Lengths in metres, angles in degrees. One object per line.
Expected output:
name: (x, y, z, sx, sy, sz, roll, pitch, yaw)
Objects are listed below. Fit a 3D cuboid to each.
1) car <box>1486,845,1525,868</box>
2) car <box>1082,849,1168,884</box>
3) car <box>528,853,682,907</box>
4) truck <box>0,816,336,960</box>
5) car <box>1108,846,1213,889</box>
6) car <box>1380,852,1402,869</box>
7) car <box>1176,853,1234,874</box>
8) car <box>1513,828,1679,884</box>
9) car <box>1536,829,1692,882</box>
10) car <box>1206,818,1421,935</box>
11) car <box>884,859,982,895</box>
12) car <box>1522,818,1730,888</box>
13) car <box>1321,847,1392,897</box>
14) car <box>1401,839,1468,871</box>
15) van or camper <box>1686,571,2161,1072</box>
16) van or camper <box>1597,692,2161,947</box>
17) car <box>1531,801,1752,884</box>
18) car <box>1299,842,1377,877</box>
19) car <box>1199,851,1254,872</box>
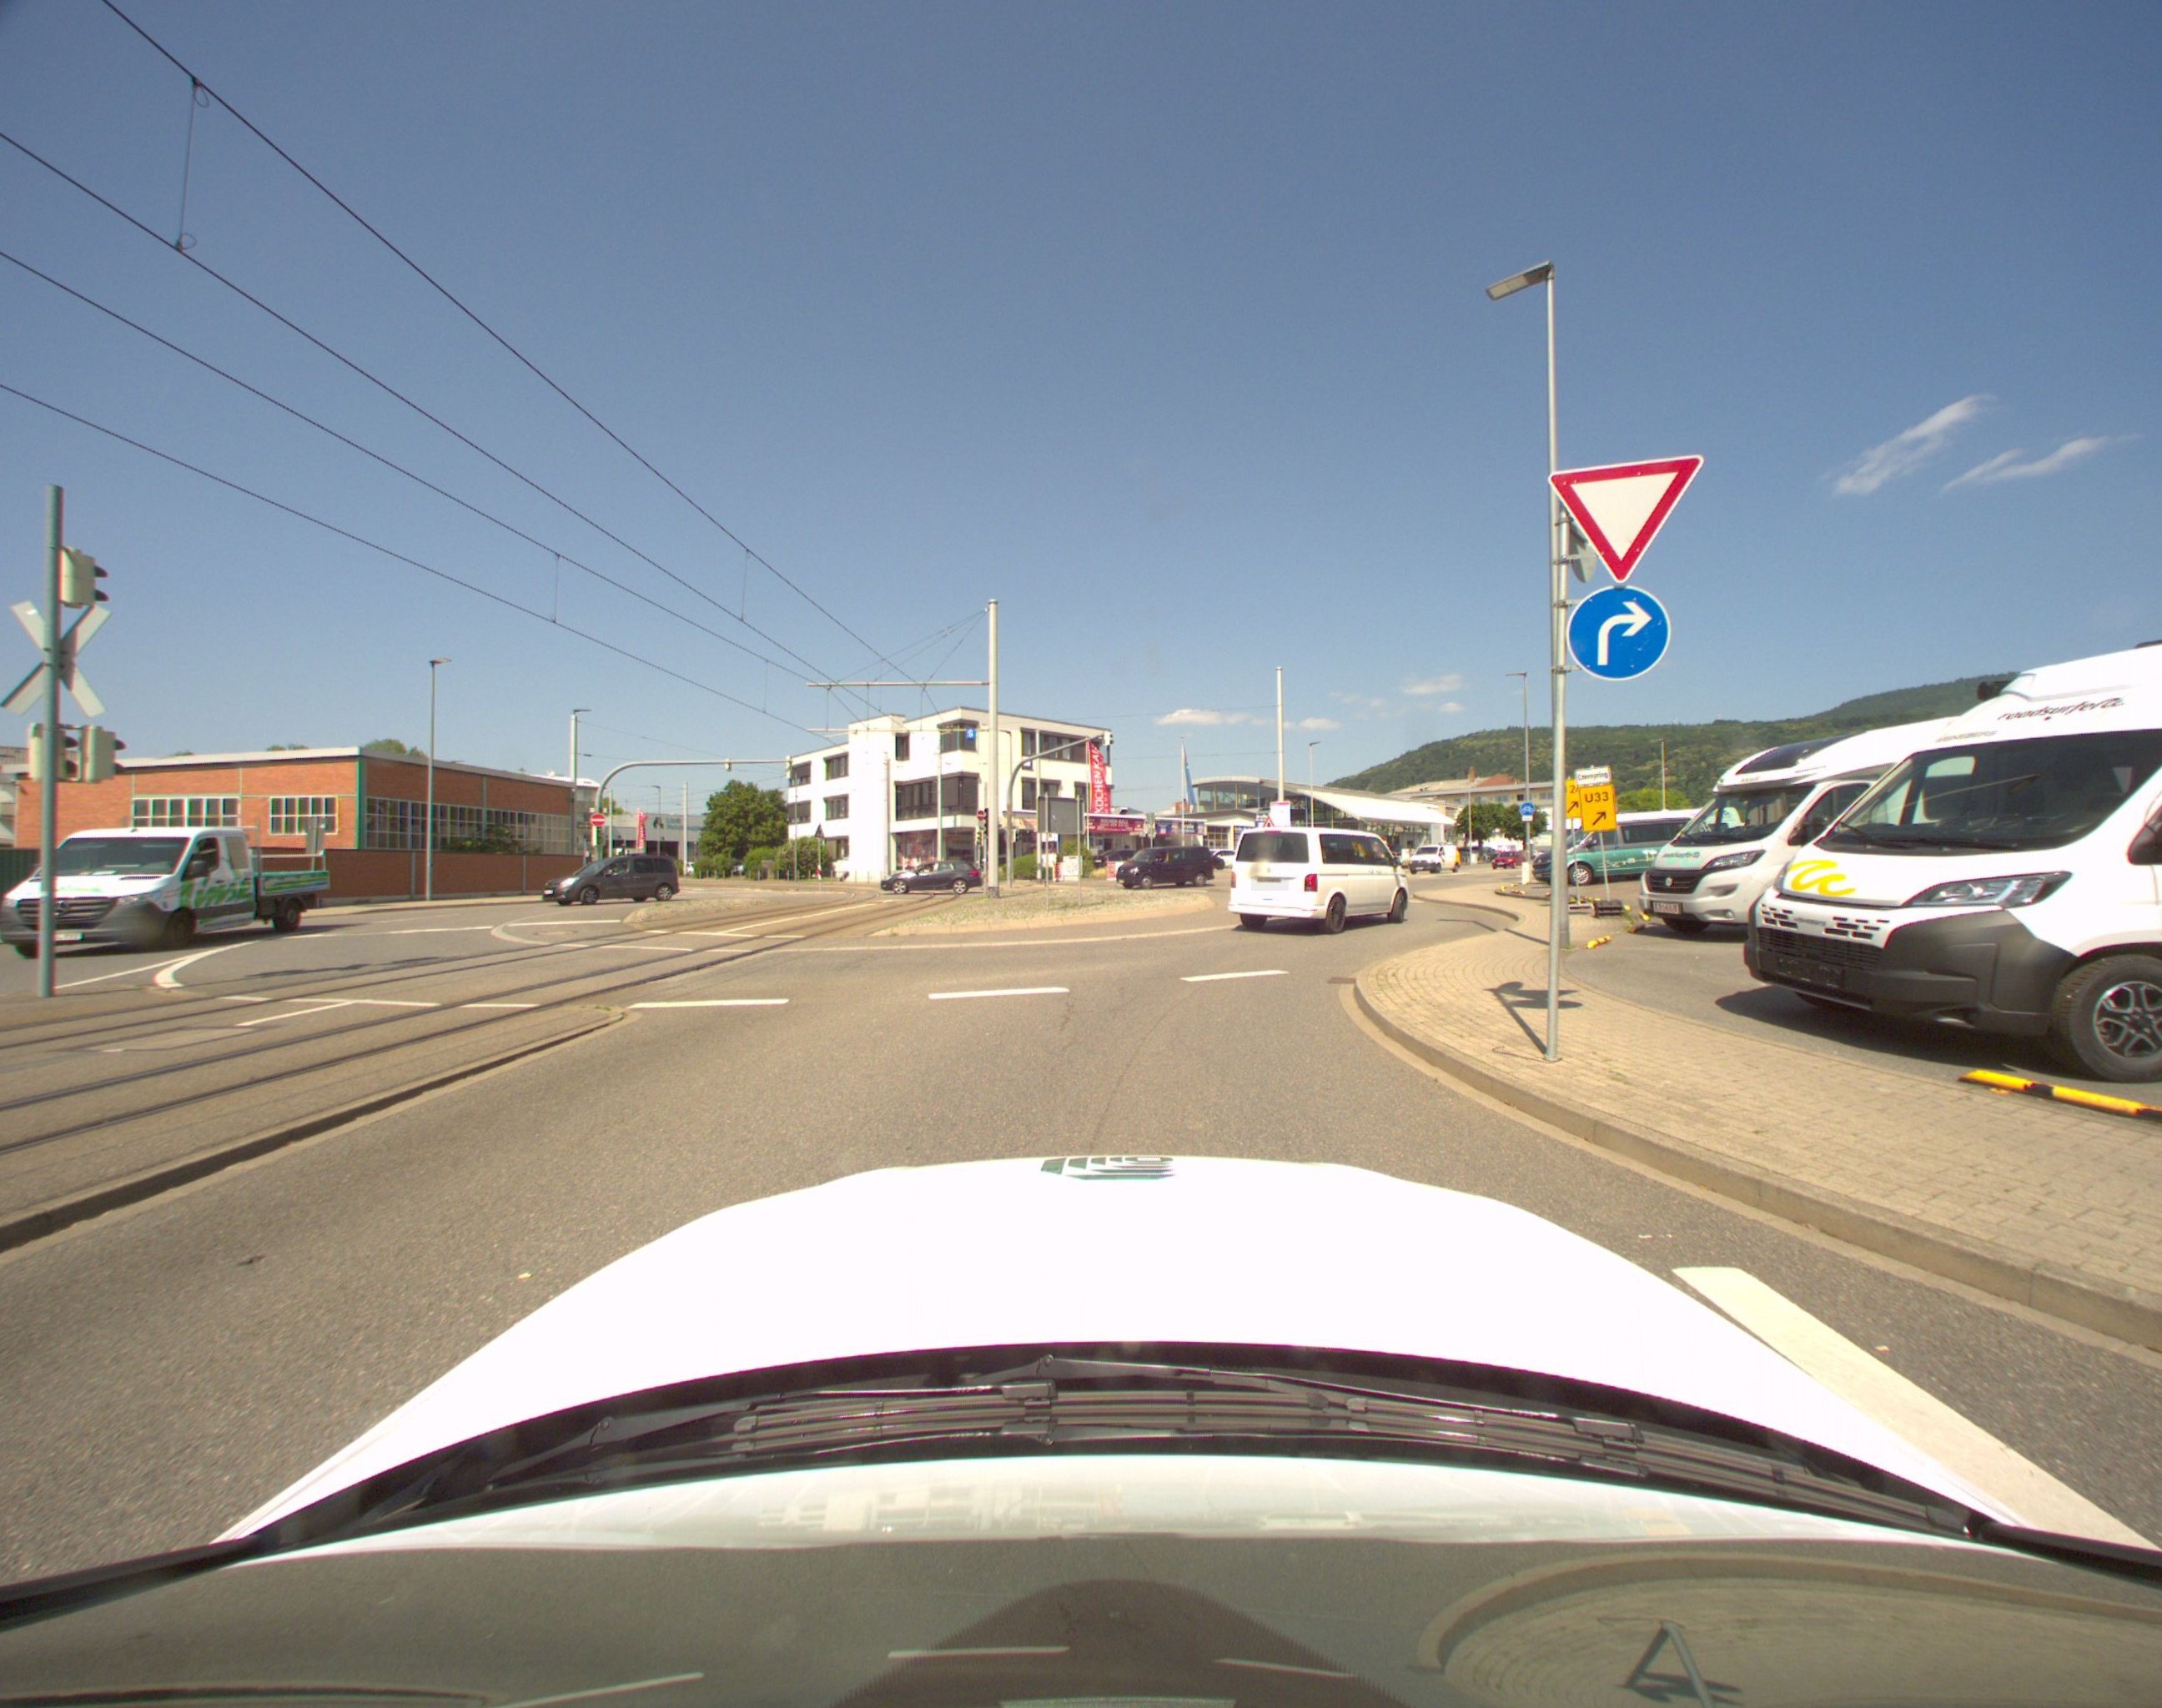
car: (35.429, 0.170, 67.895, 2.002, 1.838, 4.900, -1, 0, 39)
car: (2.707, 0.717, 49.120, 5.309, 1.965, 1.942, 0, -1, -42)
car: (-17.226, 0.894, 29.684, 1.964, 1.818, 4.437, -1, -1, 36)
truck: (-17.982, 0.575, 16.350, 2.210, 2.337, 6.345, 0, 0, -20)
car: (3.832, 0.582, 38.896, 4.653, 1.910, 2.078, -1, 0, -31)
car: (31.295, 0.654, 82.198, 1.729, 1.585, 3.682, -1, -1, 25)
car: (9.084, 0.670, 59.453, 2.007, 1.427, 4.343, -1, -1, 44)
car: (20.112, 0.110, 32.053, 5.109, 2.000, 2.031, -2, -1, 11)
car: (22.356, 0.090, 34.377, 5.095, 2.014, 1.938, -2, -1, 15)
car: (4.899, 0.391, 16.623, 2.142, 2.014, 5.048, -1, -1, 43)
car: (-6.716, 1.021, 37.312, 4.222, 1.556, 1.966, -1, 0, -5)
car: (17.356, -0.014, 26.187, 5.182, 2.113, 2.101, -1, 0, 7)
car: (10.426, 0.640, 30.607, 1.975, 1.733, 4.590, -1, 0, 25)
car: (24.250, 0.046, 55.816, 4.956, 2.114, 2.006, -1, 0, -36)
van or camper: (7.809, -0.238, 5.476, 5.785, 2.773, 2.093, -1, 0, 3)
van or camper: (11.500, -0.443, 11.325, 7.036, 2.946, 2.335, -2, -1, 1)
car: (19.950, -0.370, 29.302, 6.101, 2.717, 2.313, -1, -1, 9)
car: (15.114, 0.313, 47.772, 4.851, 1.935, 1.912, 0, -1, -37)
car: (11.774, 0.599, 65.495, 1.863, 1.589, 4.957, -4, -3, 44)
